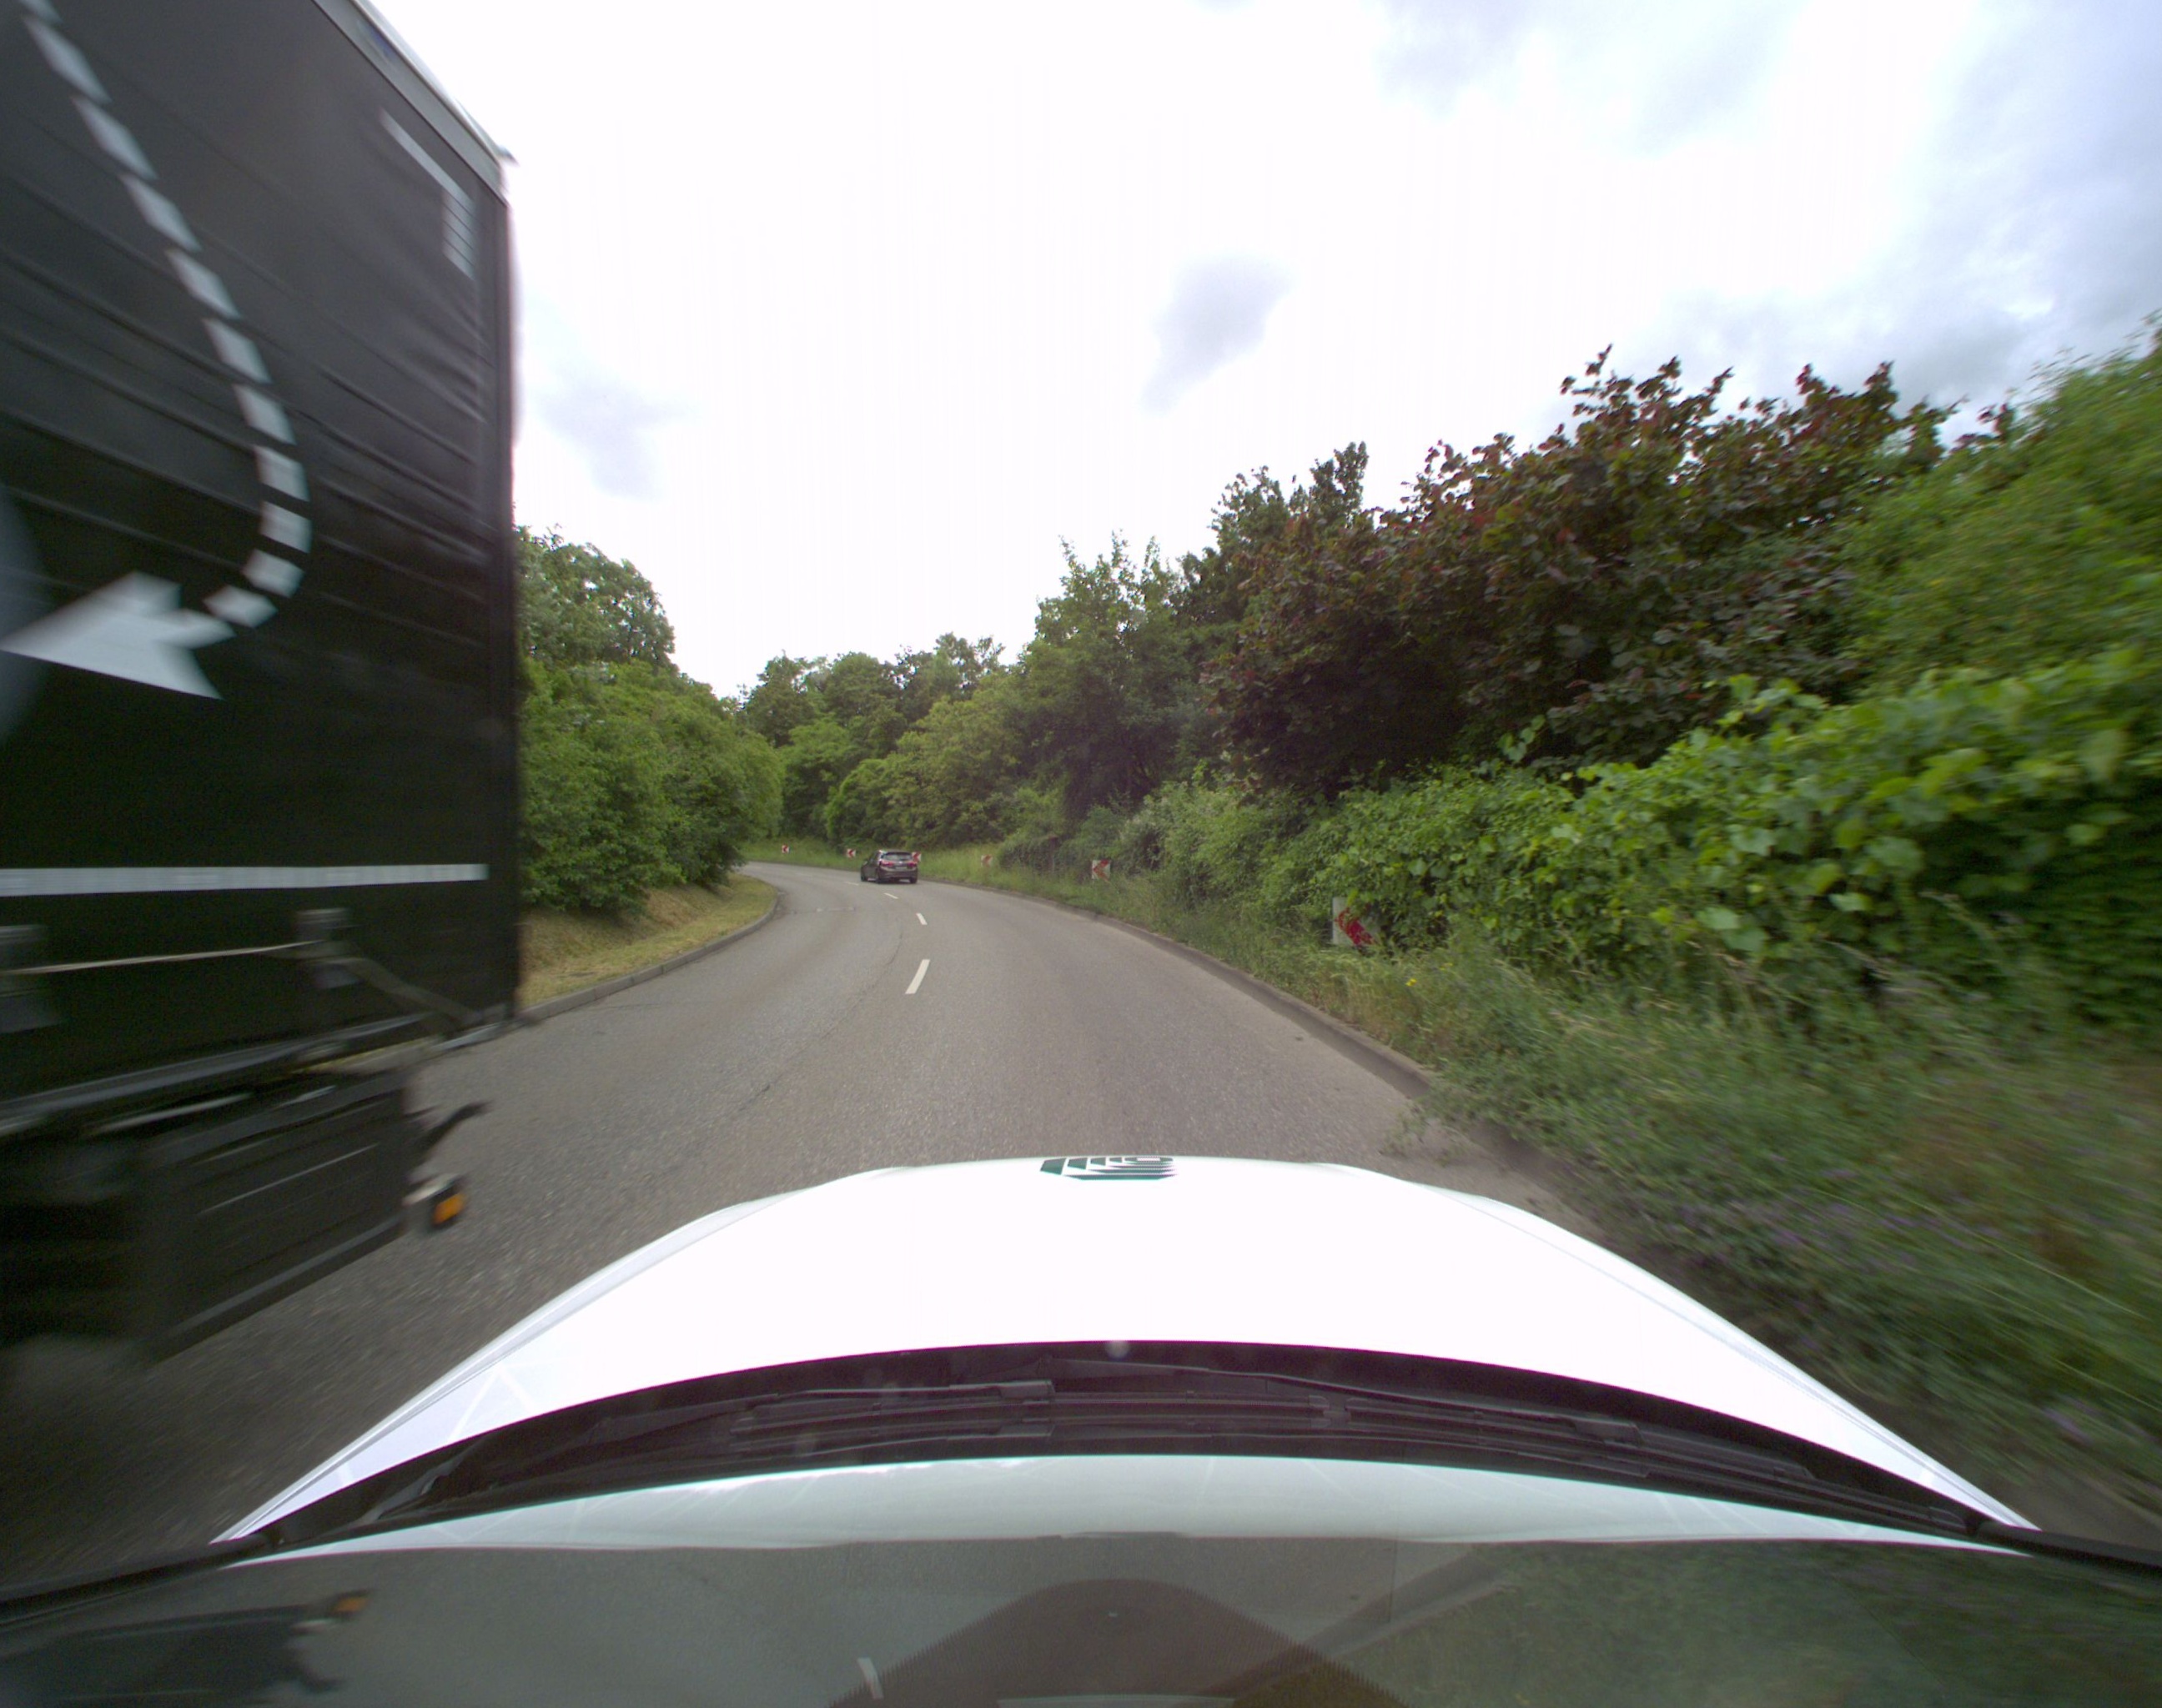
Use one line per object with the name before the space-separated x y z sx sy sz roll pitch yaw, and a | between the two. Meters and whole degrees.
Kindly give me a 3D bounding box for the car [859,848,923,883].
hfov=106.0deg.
car | -8.676 0.533 36.955 1.850 1.484 3.963 0 -1 -28
